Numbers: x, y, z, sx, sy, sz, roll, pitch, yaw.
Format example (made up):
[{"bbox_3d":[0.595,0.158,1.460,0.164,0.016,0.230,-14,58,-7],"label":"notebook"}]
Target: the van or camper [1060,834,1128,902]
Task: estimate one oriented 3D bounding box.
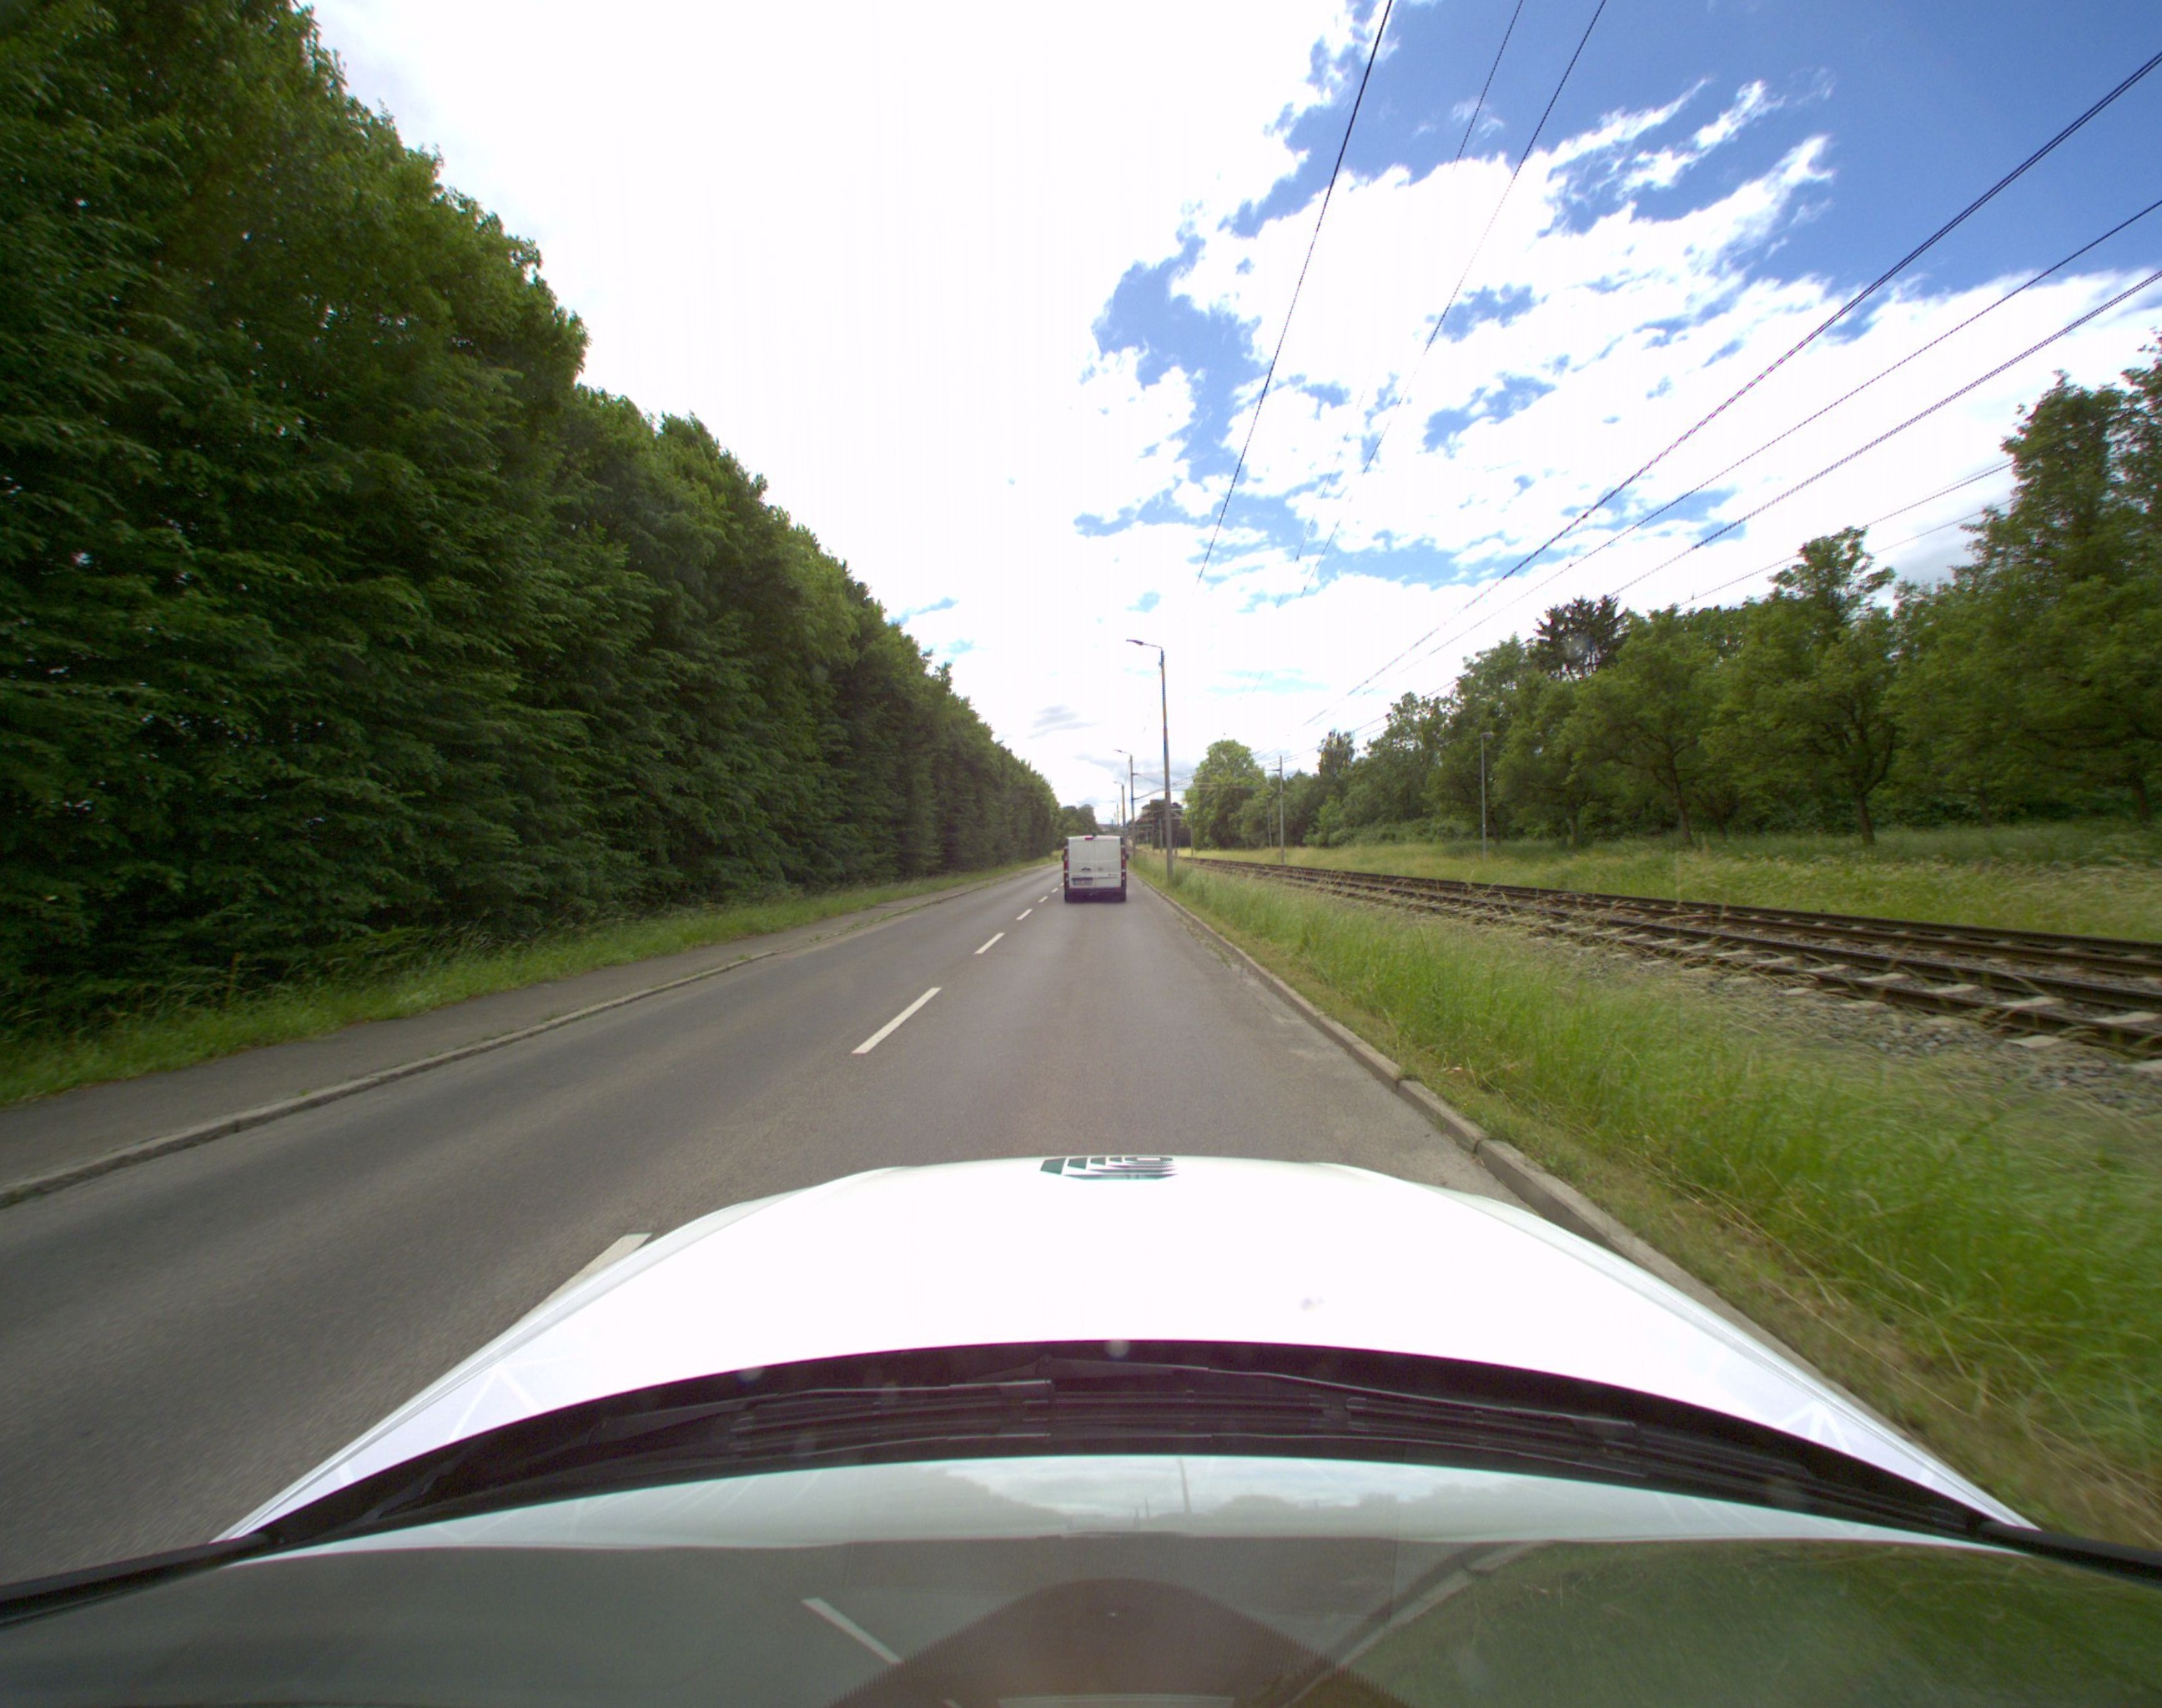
[{"bbox_3d":[0.374,0.384,25.469,1.936,1.897,4.284,-1,0,0],"label":"van or camper"}]
